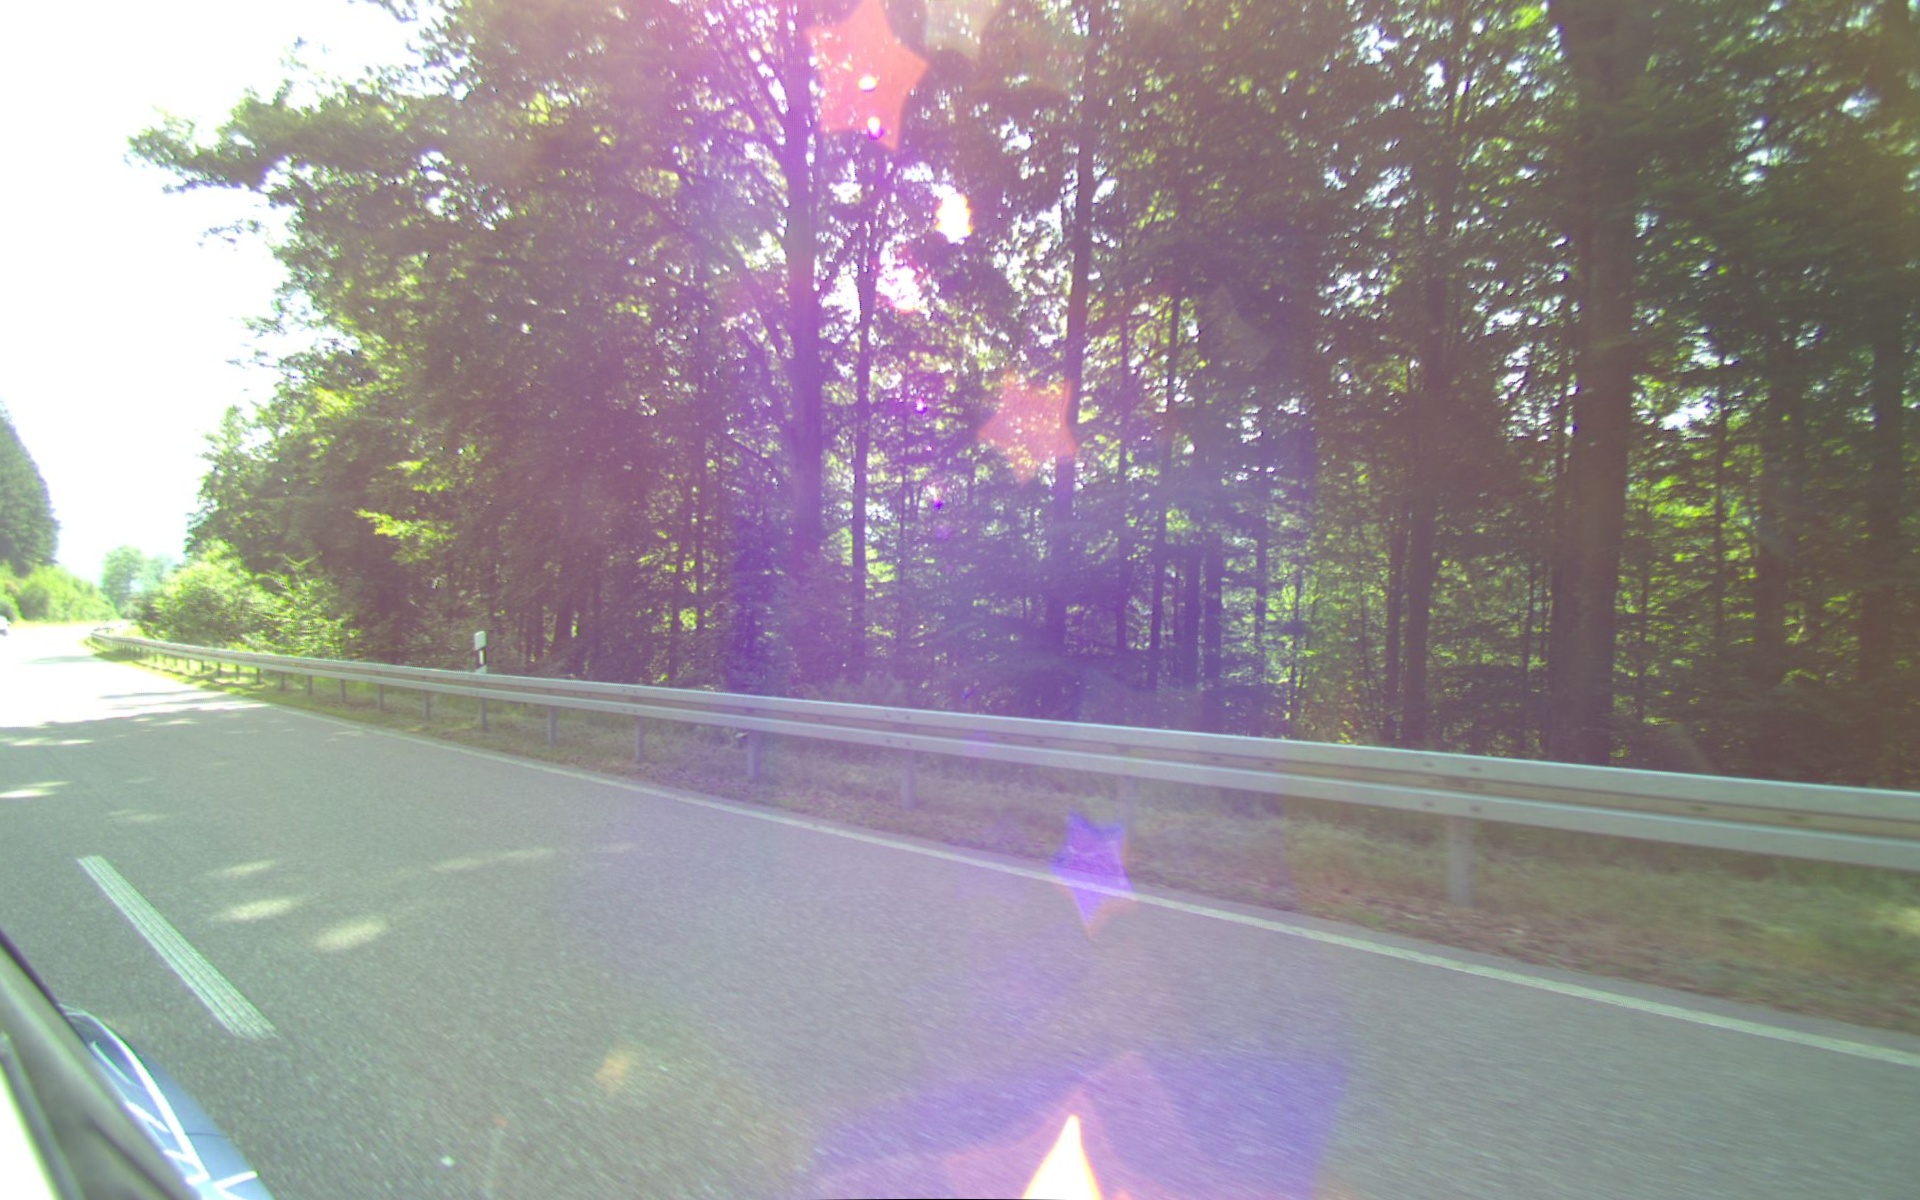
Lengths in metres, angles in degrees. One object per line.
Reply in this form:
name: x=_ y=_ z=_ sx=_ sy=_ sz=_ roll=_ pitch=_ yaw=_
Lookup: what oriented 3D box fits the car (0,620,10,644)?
car: x=-71.163 y=2.321 z=74.144 sx=1.968 sy=1.741 sz=4.007 roll=0 pitch=-1 yaw=-39
